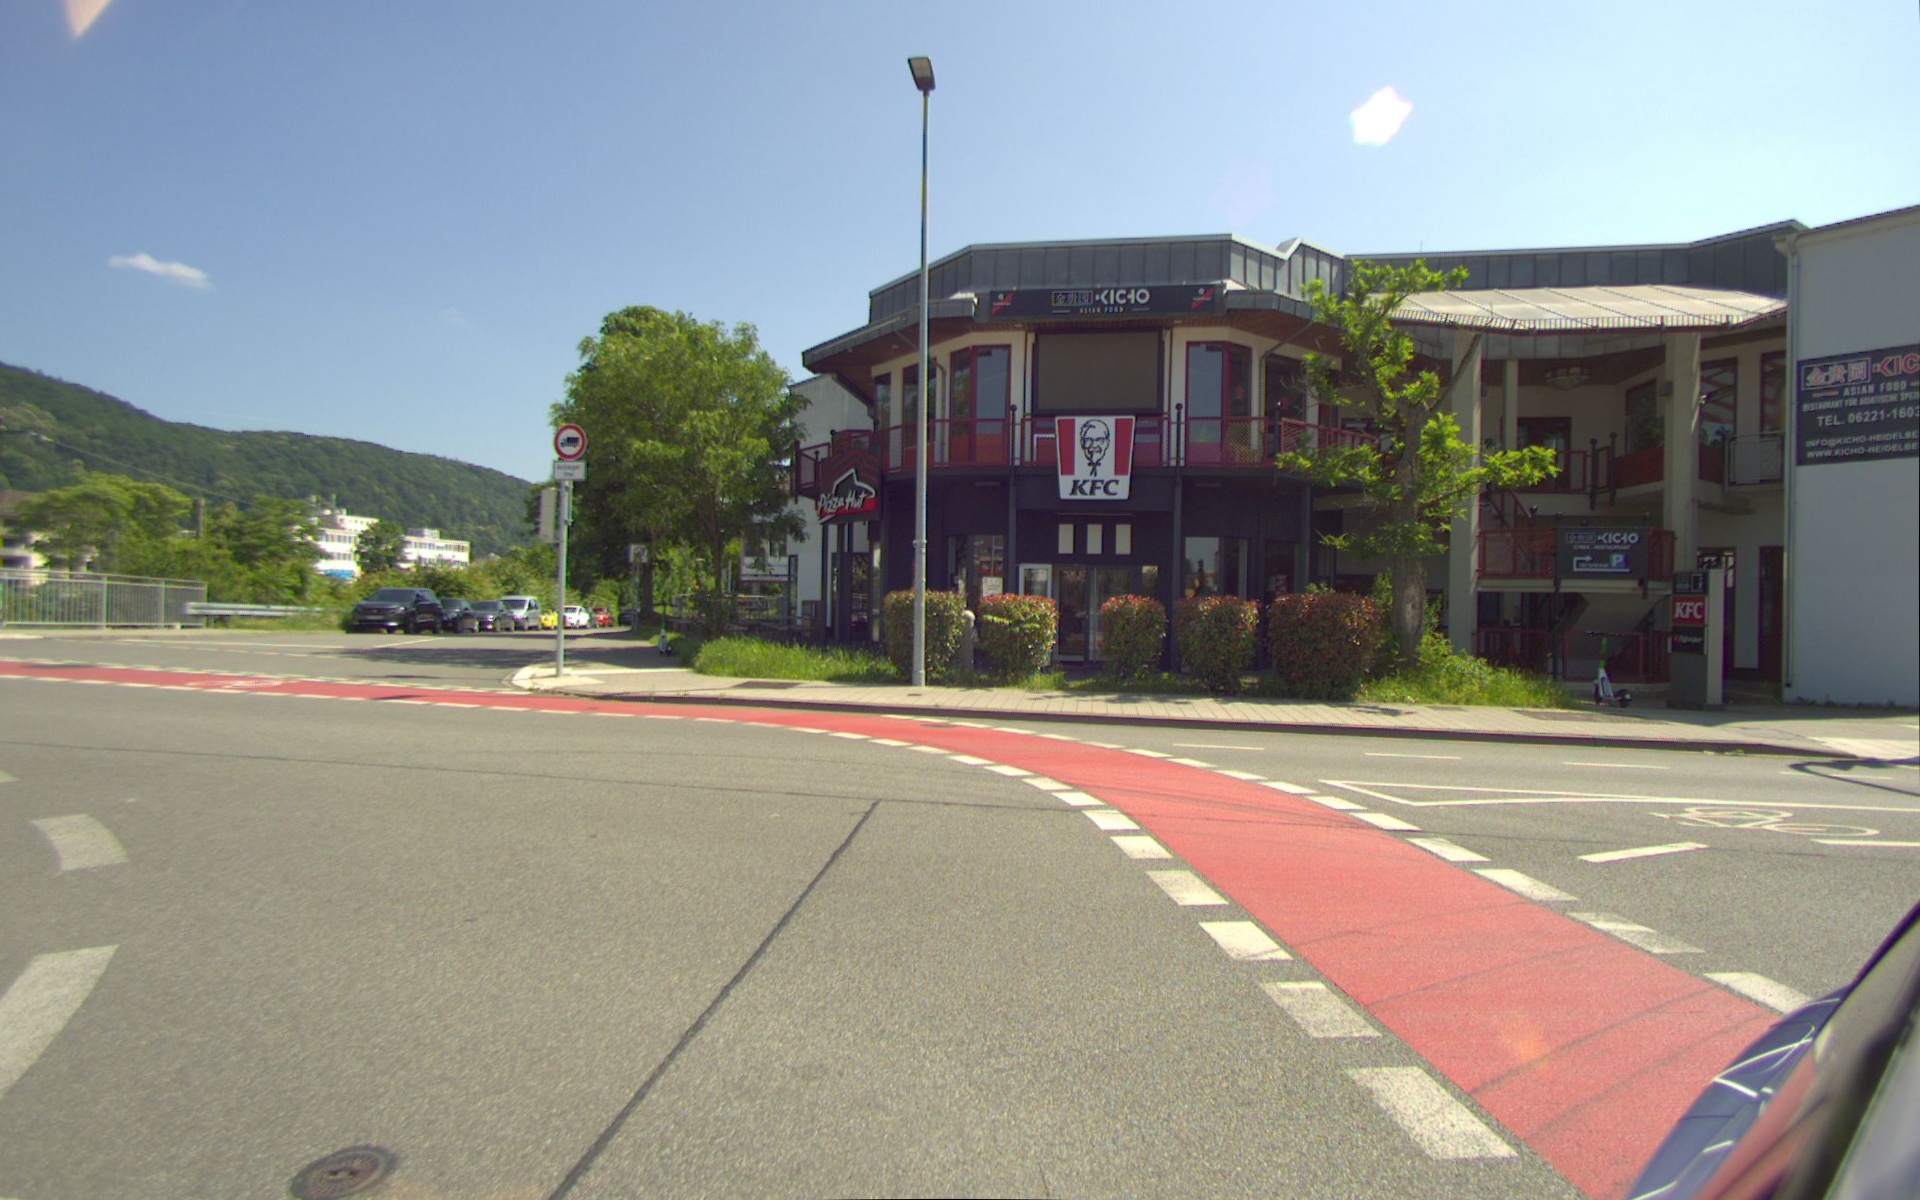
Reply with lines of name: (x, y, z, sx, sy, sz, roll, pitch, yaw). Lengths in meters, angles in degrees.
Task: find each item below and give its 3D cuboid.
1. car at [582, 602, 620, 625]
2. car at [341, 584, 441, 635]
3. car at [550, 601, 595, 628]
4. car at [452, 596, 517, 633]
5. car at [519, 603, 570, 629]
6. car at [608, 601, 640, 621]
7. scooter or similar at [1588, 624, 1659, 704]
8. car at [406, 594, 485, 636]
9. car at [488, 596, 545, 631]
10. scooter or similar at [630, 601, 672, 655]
car: (-25.247, 0.941, 71.231, 1.639, 1.453, 4.005, 1, 0, -7)
car: (-19.901, 0.300, 35.606, 1.793, 1.648, 4.245, 1, 0, -11)
car: (-24.126, 0.887, 63.135, 1.639, 1.552, 4.005, 1, 0, -7)
car: (-21.234, 0.612, 45.342, 1.638, 1.552, 4.007, 1, 0, -10)
car: (-23.254, 0.874, 56.794, 1.639, 1.334, 4.006, 1, 0, -8)
car: (-26.748, 0.831, 80.693, 1.639, 1.453, 4.005, 1, 0, -7)
scooter or similar: (10.254, 0.961, 15.681, 0.494, 1.137, 1.496, 1, 0, 16)
car: (-20.575, 0.581, 40.618, 1.639, 1.552, 4.006, 1, 0, -9)
car: (-22.296, 0.652, 50.997, 1.639, 1.655, 4.006, 1, 0, -8)
scooter or similar: (-6.801, 0.595, 22.324, 0.419, 1.137, 1.450, 1, 0, 2)
